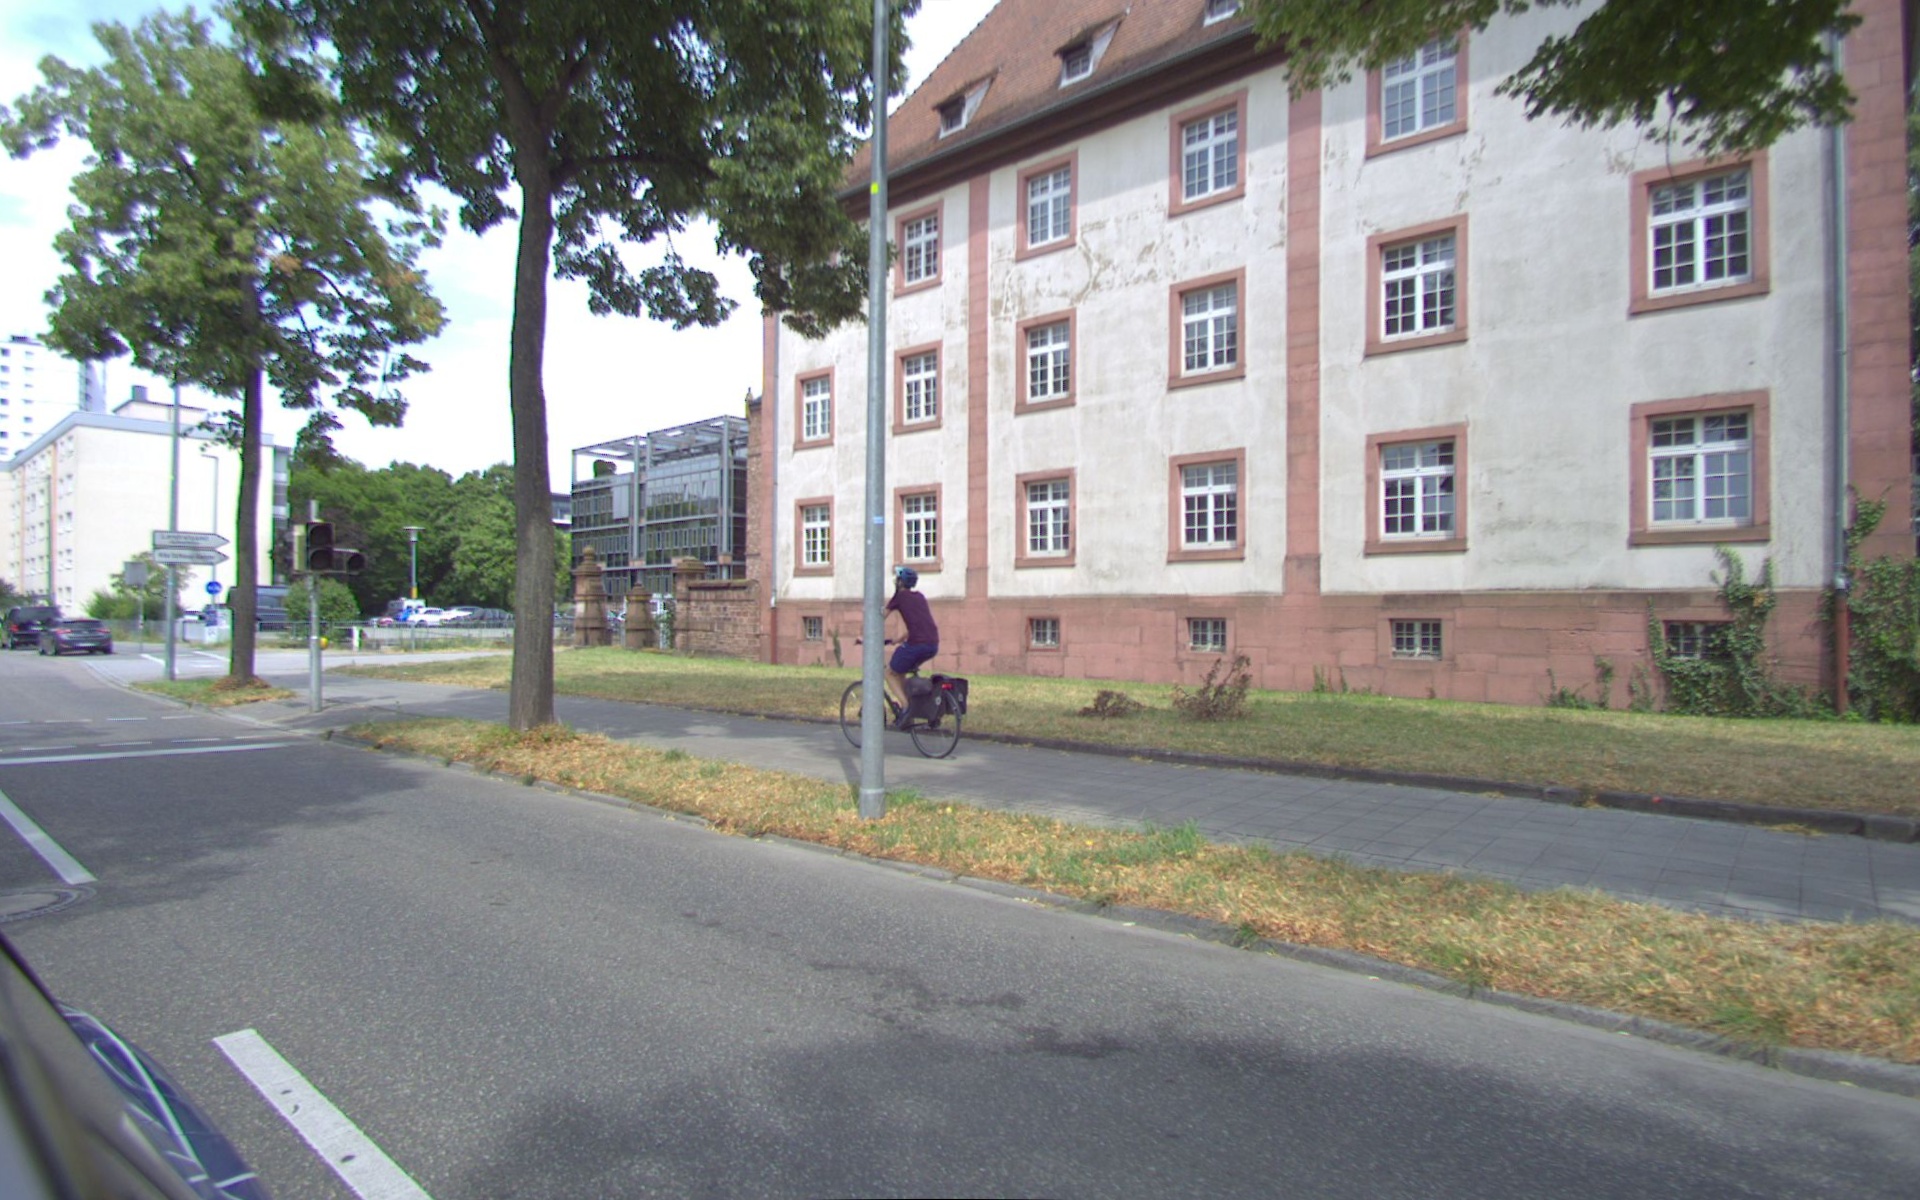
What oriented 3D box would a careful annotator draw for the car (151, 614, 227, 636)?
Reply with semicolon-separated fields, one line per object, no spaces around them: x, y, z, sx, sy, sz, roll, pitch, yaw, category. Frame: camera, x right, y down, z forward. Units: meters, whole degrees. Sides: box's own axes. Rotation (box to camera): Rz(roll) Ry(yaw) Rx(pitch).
-52.414;1.682;68.835;3.940;1.494;2.002;1;-1;-44;car

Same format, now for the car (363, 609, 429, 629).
-42.602;1.428;76.497;1.982;1.494;3.946;0;-1;40;car

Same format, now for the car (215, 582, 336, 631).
-38.782;0.339;57.430;2.354;2.571;5.254;-1;1;42;car

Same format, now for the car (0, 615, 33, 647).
-47.177;1.523;49.900;3.760;1.541;1.638;-1;-1;38;car

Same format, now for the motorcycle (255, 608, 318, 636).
-28.666;0.945;43.092;0.725;1.151;2.066;-1;-3;45;motorcycle

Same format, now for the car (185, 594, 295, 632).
-43.127;0.853;60.710;2.228;2.166;5.029;-2;-3;43;car

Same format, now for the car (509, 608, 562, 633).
-36.291;1.790;86.538;3.670;2.029;1.972;3;-3;-44;car

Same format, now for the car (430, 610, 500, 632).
-34.343;1.451;70.274;1.616;1.494;4.113;0;-1;40;car

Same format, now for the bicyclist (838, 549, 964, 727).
-0.592;0.353;10.109;0.958;1.668;0.715;-1;2;41;bicyclist

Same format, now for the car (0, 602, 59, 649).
-43.041;1.148;46.408;4.839;2.019;1.929;-1;0;40;car

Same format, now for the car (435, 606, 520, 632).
-32.579;1.316;68.446;2.330;1.677;4.641;-1;-3;42;car

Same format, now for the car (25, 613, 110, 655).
-35.098;1.314;39.749;4.293;1.484;1.805;-1;0;39;car

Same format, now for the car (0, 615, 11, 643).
-51.652;1.542;53.446;4.258;1.468;1.671;-1;-1;39;car

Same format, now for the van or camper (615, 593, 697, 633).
-21.663;0.962;72.213;2.579;2.723;4.997;-1;-2;39;van or camper

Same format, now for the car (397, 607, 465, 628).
-38.272;1.278;73.280;1.969;1.494;3.946;0;-1;40;car

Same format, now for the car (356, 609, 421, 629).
-44.198;1.459;78.349;1.982;1.494;3.946;0;-1;40;car

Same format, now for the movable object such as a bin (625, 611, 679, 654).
-10.867;1.143;35.687;1.570;1.479;1.188;-1;-1;42;movable object such as a bin

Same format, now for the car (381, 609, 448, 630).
-40.329;1.426;74.853;1.856;1.494;3.946;0;-1;40;car

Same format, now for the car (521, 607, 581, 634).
-33.931;1.732;84.118;1.969;2.153;4.175;-1;-3;39;car

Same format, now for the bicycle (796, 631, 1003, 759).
-0.650;0.898;10.196;2.150;1.103;0.715;-1;2;41;bicycle
